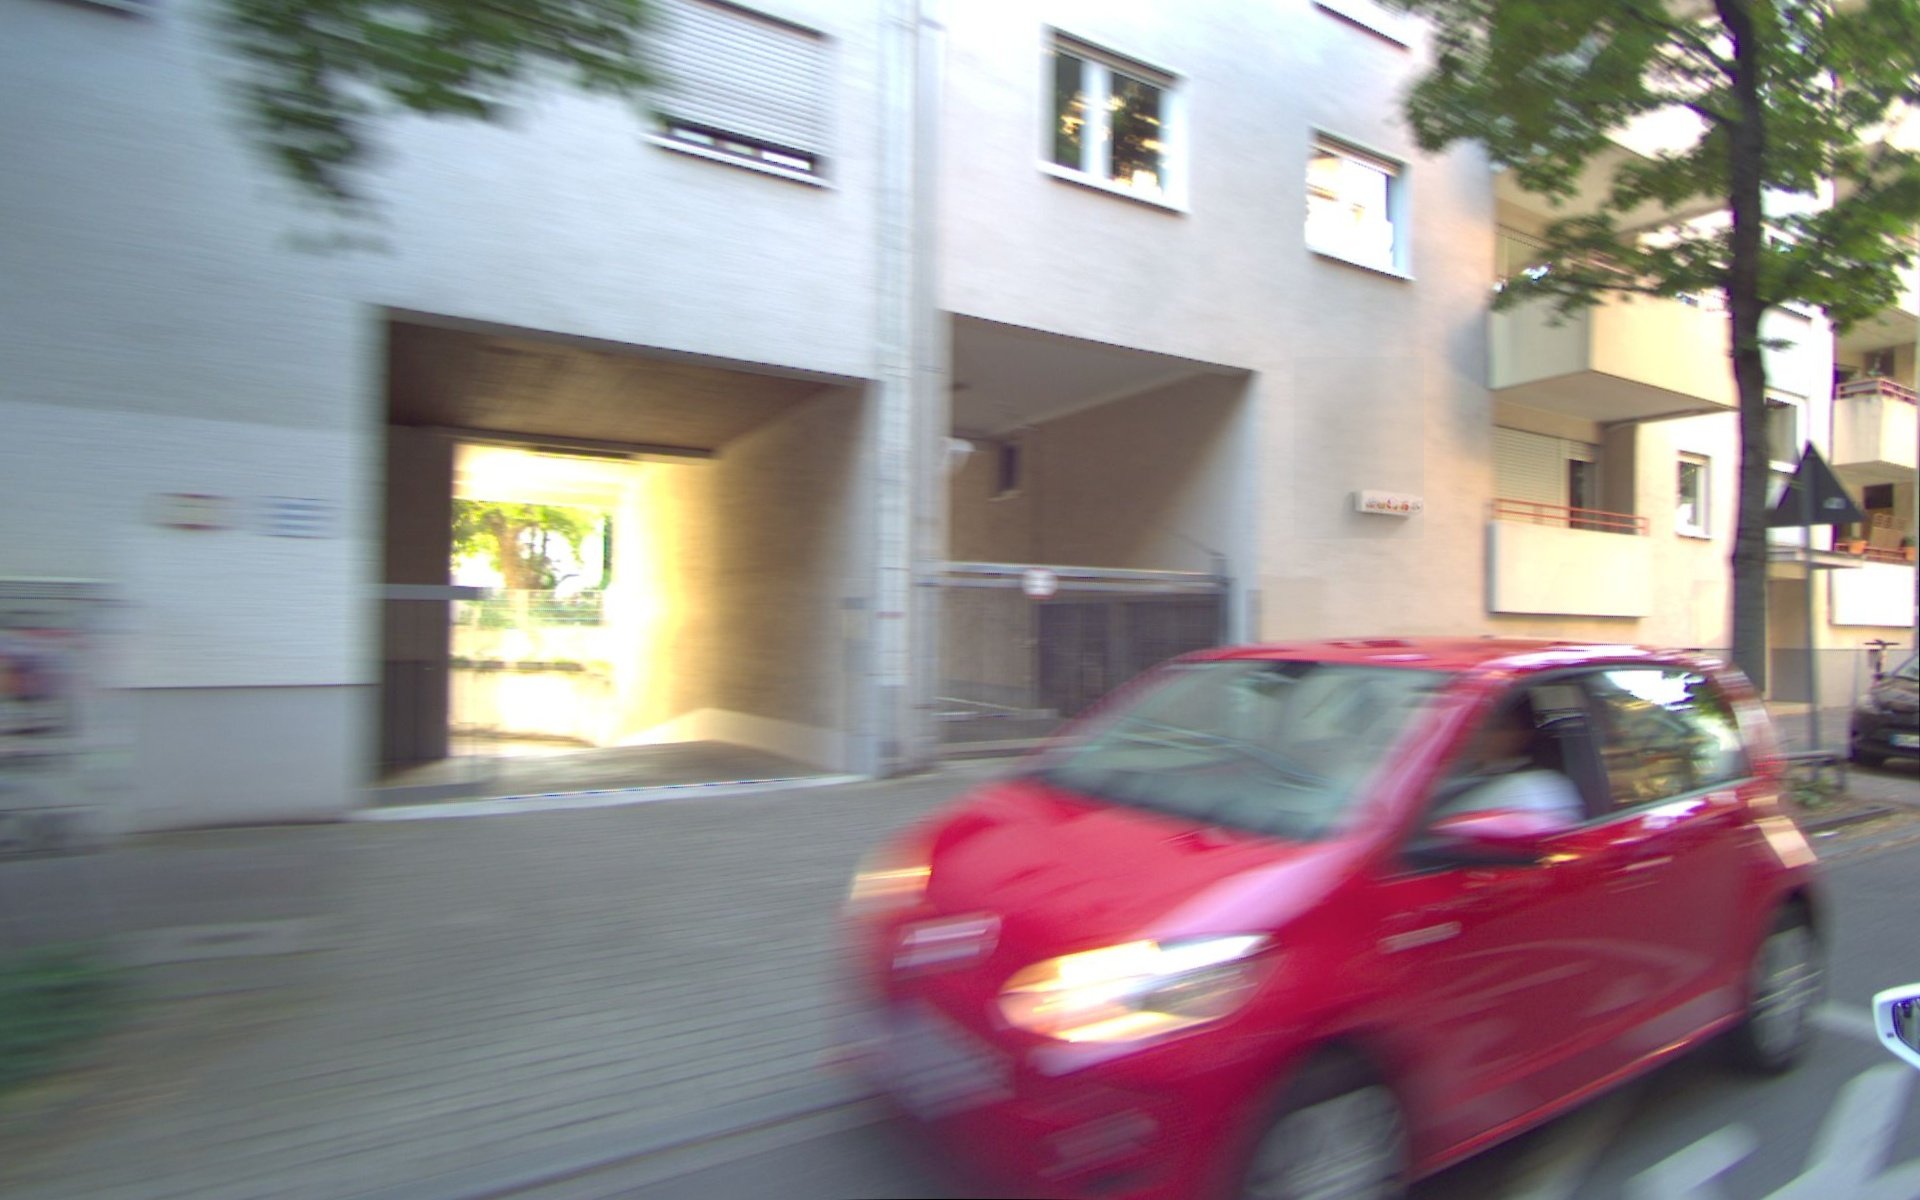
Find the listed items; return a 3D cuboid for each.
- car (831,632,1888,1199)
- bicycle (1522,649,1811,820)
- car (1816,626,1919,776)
[{"bbox_3d":[1.491,0.848,3.472,3.502,1.449,1.622,1,-2,-31],"label":"car"},{"bbox_3d":[5.664,1.049,8.167,1.792,1.211,0.605,1,1,15],"label":"bicycle"},{"bbox_3d":[11.516,1.088,11.133,3.789,1.504,1.734,1,0,-27],"label":"car"}]
